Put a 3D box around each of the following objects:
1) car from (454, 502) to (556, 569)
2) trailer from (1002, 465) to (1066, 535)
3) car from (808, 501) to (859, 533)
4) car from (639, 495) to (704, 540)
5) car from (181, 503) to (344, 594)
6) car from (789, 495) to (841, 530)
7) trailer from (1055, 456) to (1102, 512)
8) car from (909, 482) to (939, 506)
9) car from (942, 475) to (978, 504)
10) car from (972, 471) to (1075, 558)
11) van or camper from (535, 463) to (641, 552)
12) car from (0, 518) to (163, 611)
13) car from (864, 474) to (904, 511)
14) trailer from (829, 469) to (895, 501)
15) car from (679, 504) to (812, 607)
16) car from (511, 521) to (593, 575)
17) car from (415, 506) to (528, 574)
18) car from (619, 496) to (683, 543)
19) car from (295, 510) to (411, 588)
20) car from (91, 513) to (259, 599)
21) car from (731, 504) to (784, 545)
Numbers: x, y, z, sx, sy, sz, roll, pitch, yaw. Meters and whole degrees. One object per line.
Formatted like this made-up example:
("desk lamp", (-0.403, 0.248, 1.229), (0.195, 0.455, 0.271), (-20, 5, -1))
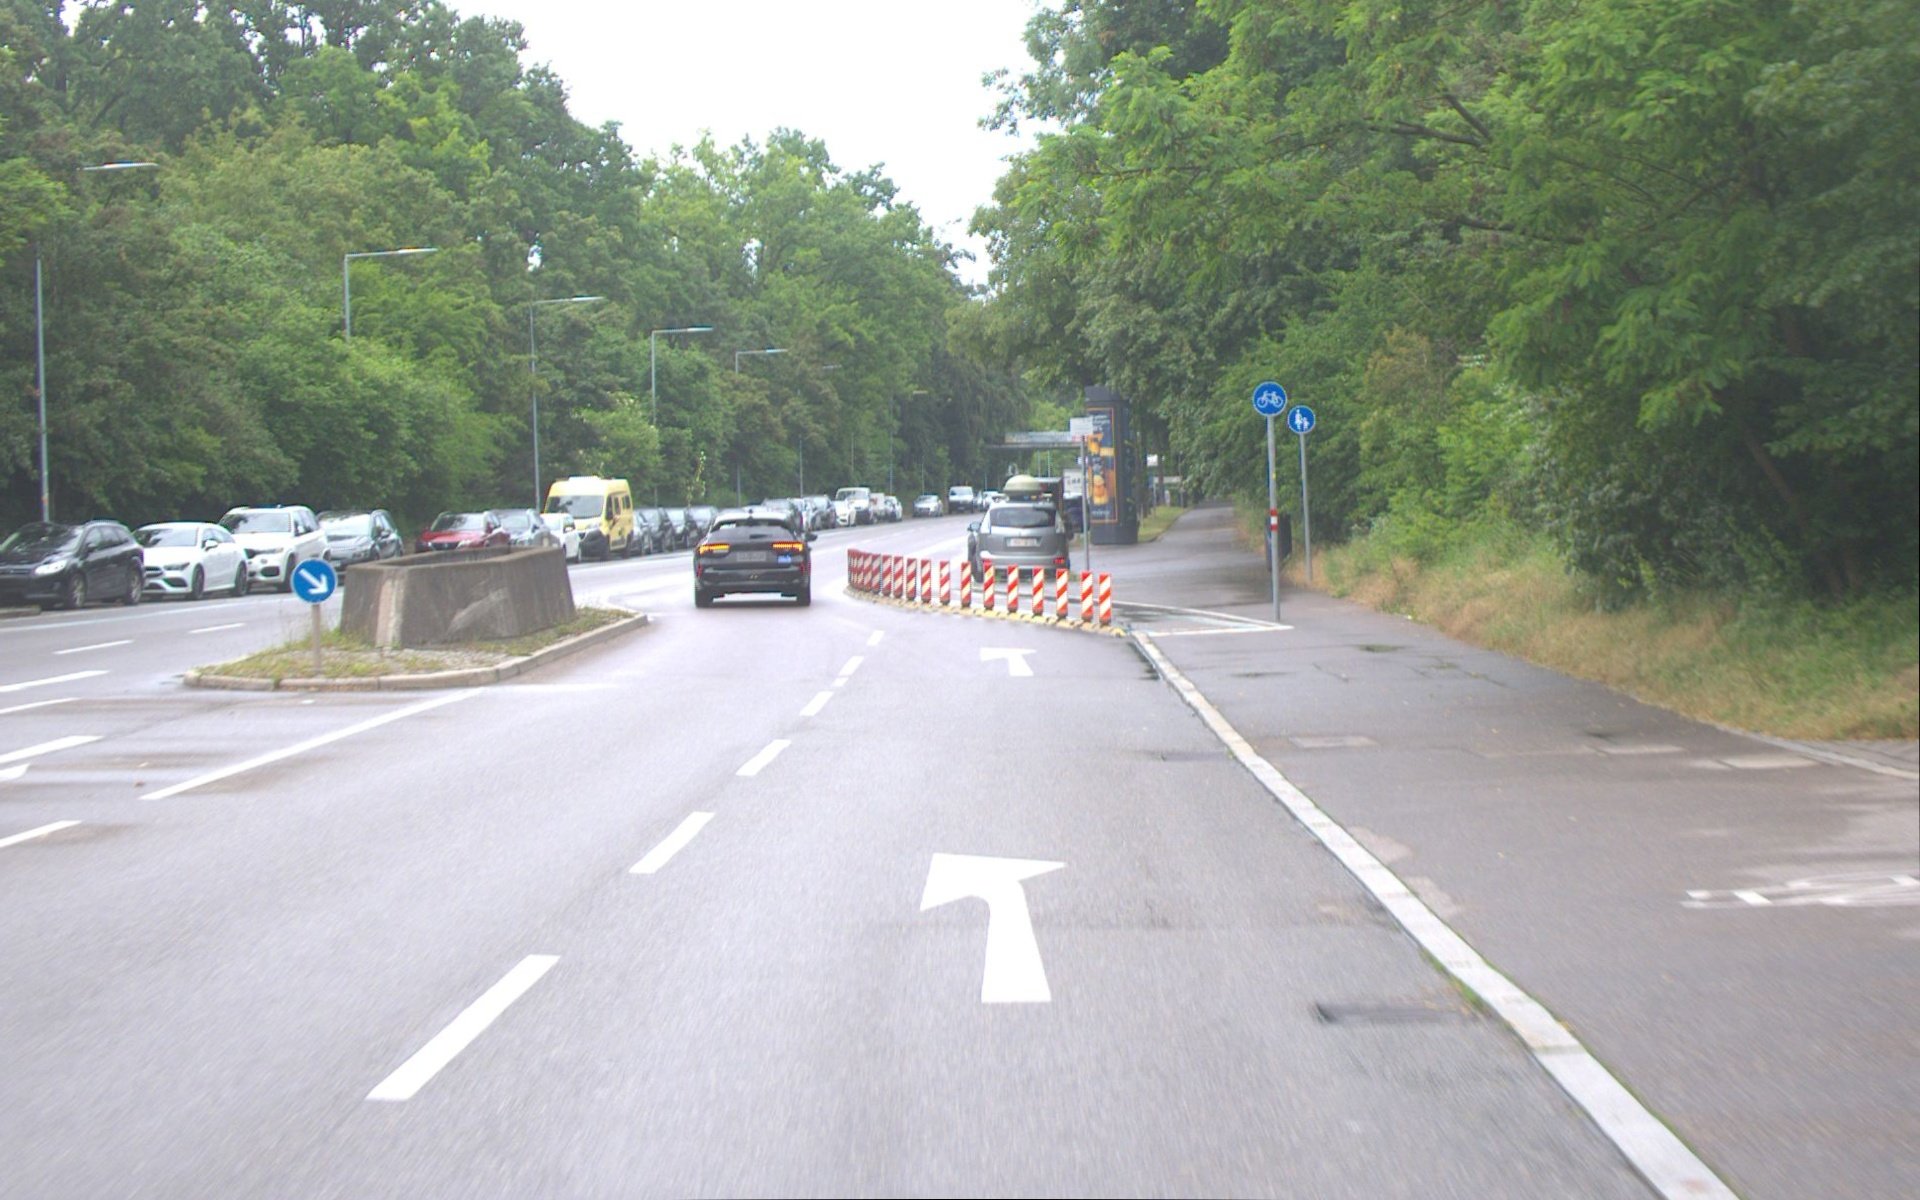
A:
("car", (-12.472, -1.795, 94.537), (1.994, 1.694, 4.615), (-1, 2, 2))
("trailer", (2.495, -3.366, 114.860), (1.906, 2.240, 4.768), (-1, 2, 3))
("car", (-6.182, -4.076, 168.843), (1.994, 1.483, 4.468), (-1, 2, 5))
("car", (-10.248, -2.963, 122.323), (1.603, 1.505, 3.976), (-1, 2, 5))
("car", (-14.109, -1.079, 69.816), (1.994, 1.759, 4.960), (-1, 2, 3))
("car", (-6.774, -4.112, 160.930), (1.880, 1.556, 4.468), (-1, 2, 5))
("trailer", (5.580, -5.458, 161.280), (2.132, 2.551, 4.297), (-1, 2, 2))
("car", (-2.334, -6.967, 225.223), (1.672, 1.508, 3.630), (0, 2, 4))
("car", (0.000, -8.045, 250.317), (2.159, 2.006, 5.030), (-1, 2, 5))
("car", (1.188, -1.654, 66.071), (1.822, 1.609, 4.252), (-1, 2, -1))
("van or camper", (-11.453, -2.886, 106.345), (2.144, 2.618, 5.682), (-1, 2, 5))
("car", (-15.086, -0.628, 58.021), (1.749, 1.440, 4.586), (0, 2, 6))
("car", (-4.218, -5.964, 190.885), (1.940, 2.006, 4.740), (-1, 2, 2))
("trailer", (-5.284, -6.215, 185.221), (1.628, 1.623, 3.665), (0, 3, 35))
("car", (-3.348, -0.709, 53.055), (1.880, 1.461, 4.001), (1, 2, -6))
("car", (-11.821, -1.523, 99.852), (1.617, 1.443, 3.657), (-2, 2, 5))
("car", (-12.652, -1.582, 89.238), (1.919, 1.611, 4.489), (-2, 2, 5))
("car", (-10.502, -2.756, 116.982), (1.603, 1.505, 3.138), (-1, 2, 5))
("car", (-13.631, -1.173, 77.442), (1.731, 1.643, 4.572), (-1, 2, 1))
("car", (-14.568, -0.849, 64.030), (1.718, 1.455, 4.708), (-1, 2, 4))
("car", (-8.226, -3.095, 139.985), (1.696, 1.578, 4.139), (-1, 2, 3))
